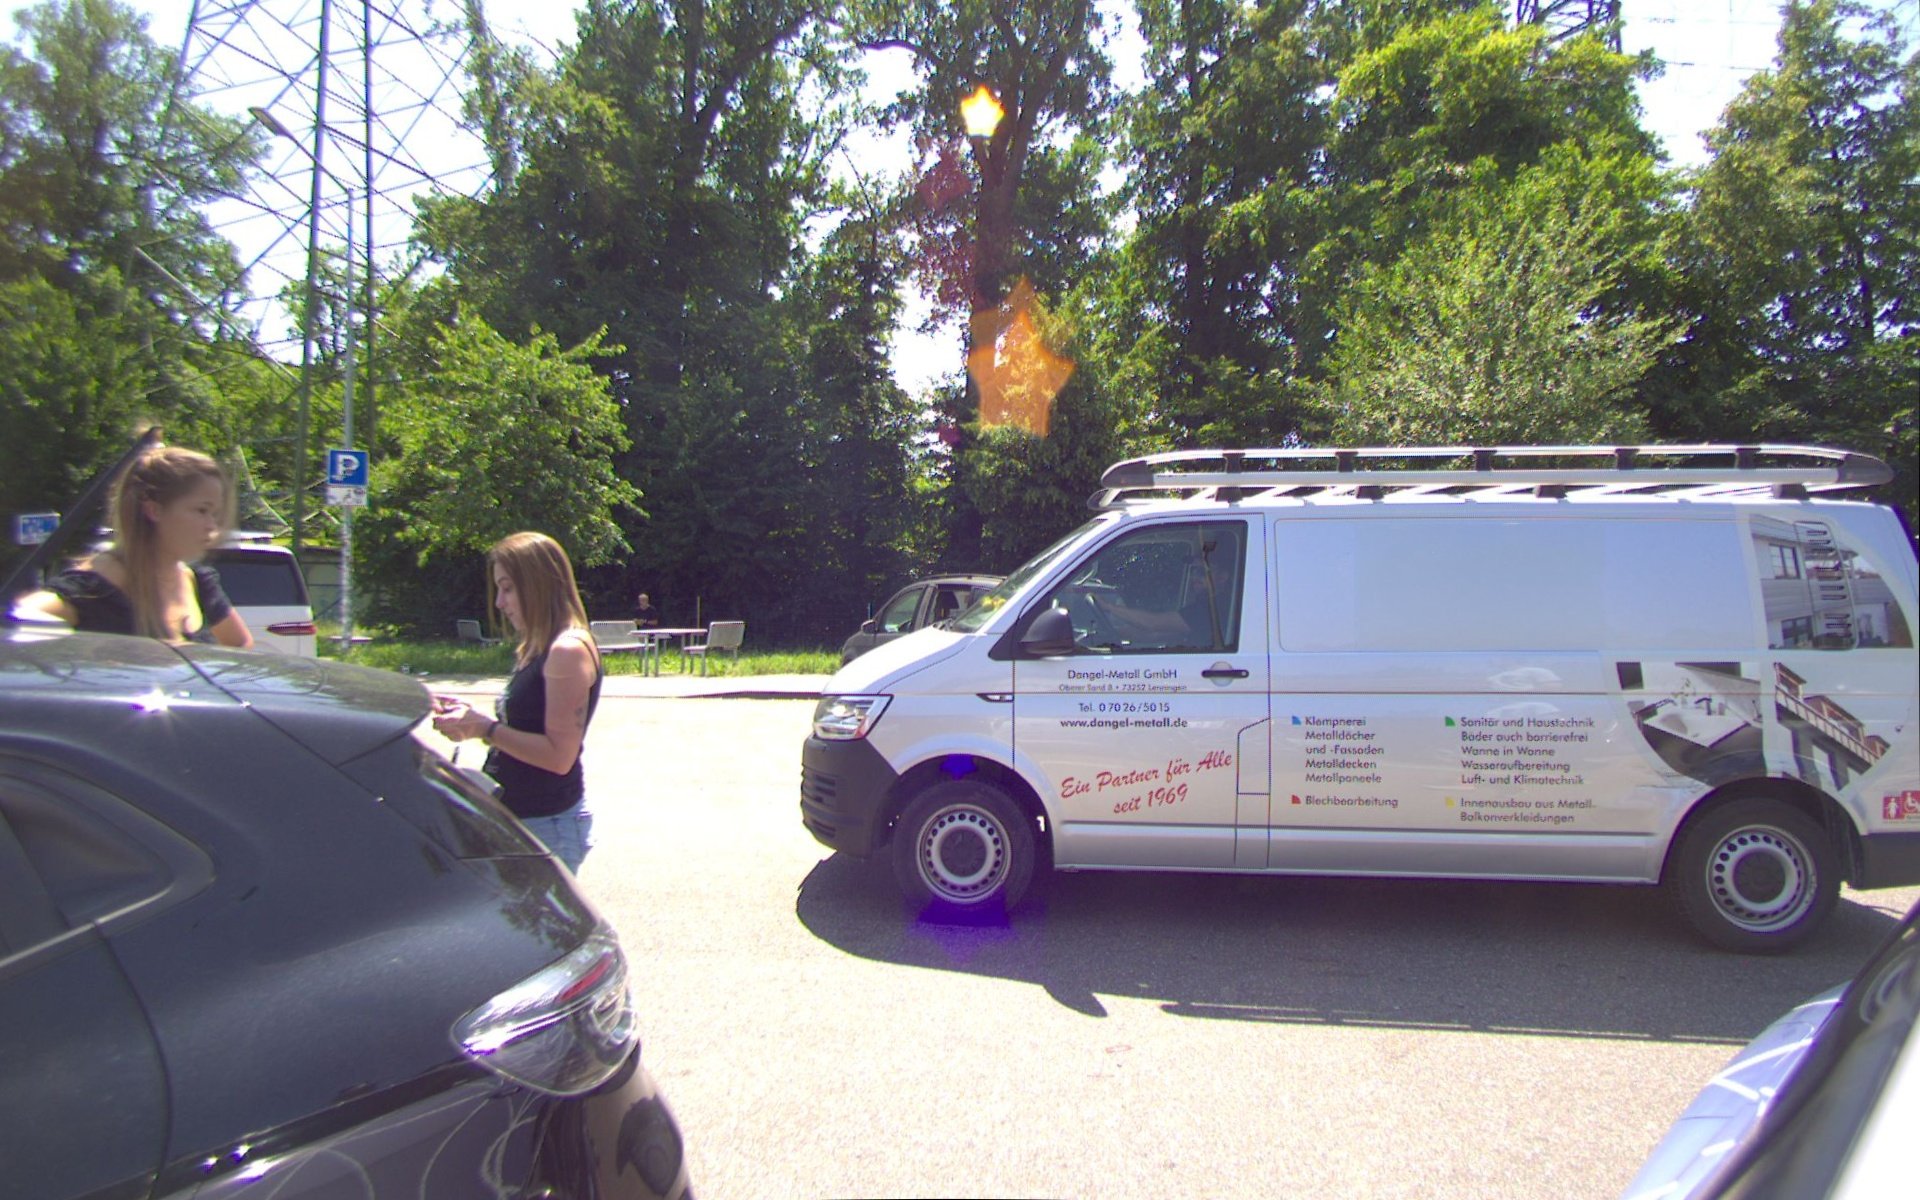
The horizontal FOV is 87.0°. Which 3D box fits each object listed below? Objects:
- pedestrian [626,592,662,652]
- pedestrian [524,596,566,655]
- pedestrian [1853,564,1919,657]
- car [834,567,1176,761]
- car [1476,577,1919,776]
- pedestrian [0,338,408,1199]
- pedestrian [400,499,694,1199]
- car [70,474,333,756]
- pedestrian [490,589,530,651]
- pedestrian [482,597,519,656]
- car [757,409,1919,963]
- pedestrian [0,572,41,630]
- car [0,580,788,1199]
[{"bbox_3d":[-6.649,0.459,21.318,0.550,1.229,0.599,1,-1,-1],"label":"pedestrian"},{"bbox_3d":[-9.677,0.577,23.593,0.722,1.343,0.669,1,-1,-39],"label":"pedestrian"},{"bbox_3d":[13.841,0.159,14.777,0.846,1.316,0.894,1,-1,-18],"label":"pedestrian"},{"bbox_3d":[0.250,0.498,10.563,1.717,1.611,3.961,0,1,-30],"label":"car"},{"bbox_3d":[7.271,0.574,9.685,1.727,1.566,3.806,0,1,-39],"label":"car"},{"bbox_3d":[-1.950,0.428,2.456,0.758,1.896,0.918,1,-1,-7],"label":"pedestrian"},{"bbox_3d":[-1.132,0.575,2.735,0.635,1.606,0.655,1,-1,-29],"label":"pedestrian"},{"bbox_3d":[-8.033,0.086,10.641,1.885,2.353,4.089,0,1,-40],"label":"car"},{"bbox_3d":[-10.909,0.485,24.530,0.722,1.478,0.669,1,-1,-39],"label":"pedestrian"},{"bbox_3d":[-10.397,0.593,22.896,0.630,1.287,0.579,1,-1,-39],"label":"pedestrian"},{"bbox_3d":[1.802,0.310,5.184,5.219,2.177,1.997,1,-1,6],"label":"car"},{"bbox_3d":[-22.840,0.021,24.459,0.599,1.391,0.705,1,-1,15],"label":"pedestrian"},{"bbox_3d":[-2.098,0.716,0.600,1.615,1.503,3.706,0,-1,44],"label":"car"}]
